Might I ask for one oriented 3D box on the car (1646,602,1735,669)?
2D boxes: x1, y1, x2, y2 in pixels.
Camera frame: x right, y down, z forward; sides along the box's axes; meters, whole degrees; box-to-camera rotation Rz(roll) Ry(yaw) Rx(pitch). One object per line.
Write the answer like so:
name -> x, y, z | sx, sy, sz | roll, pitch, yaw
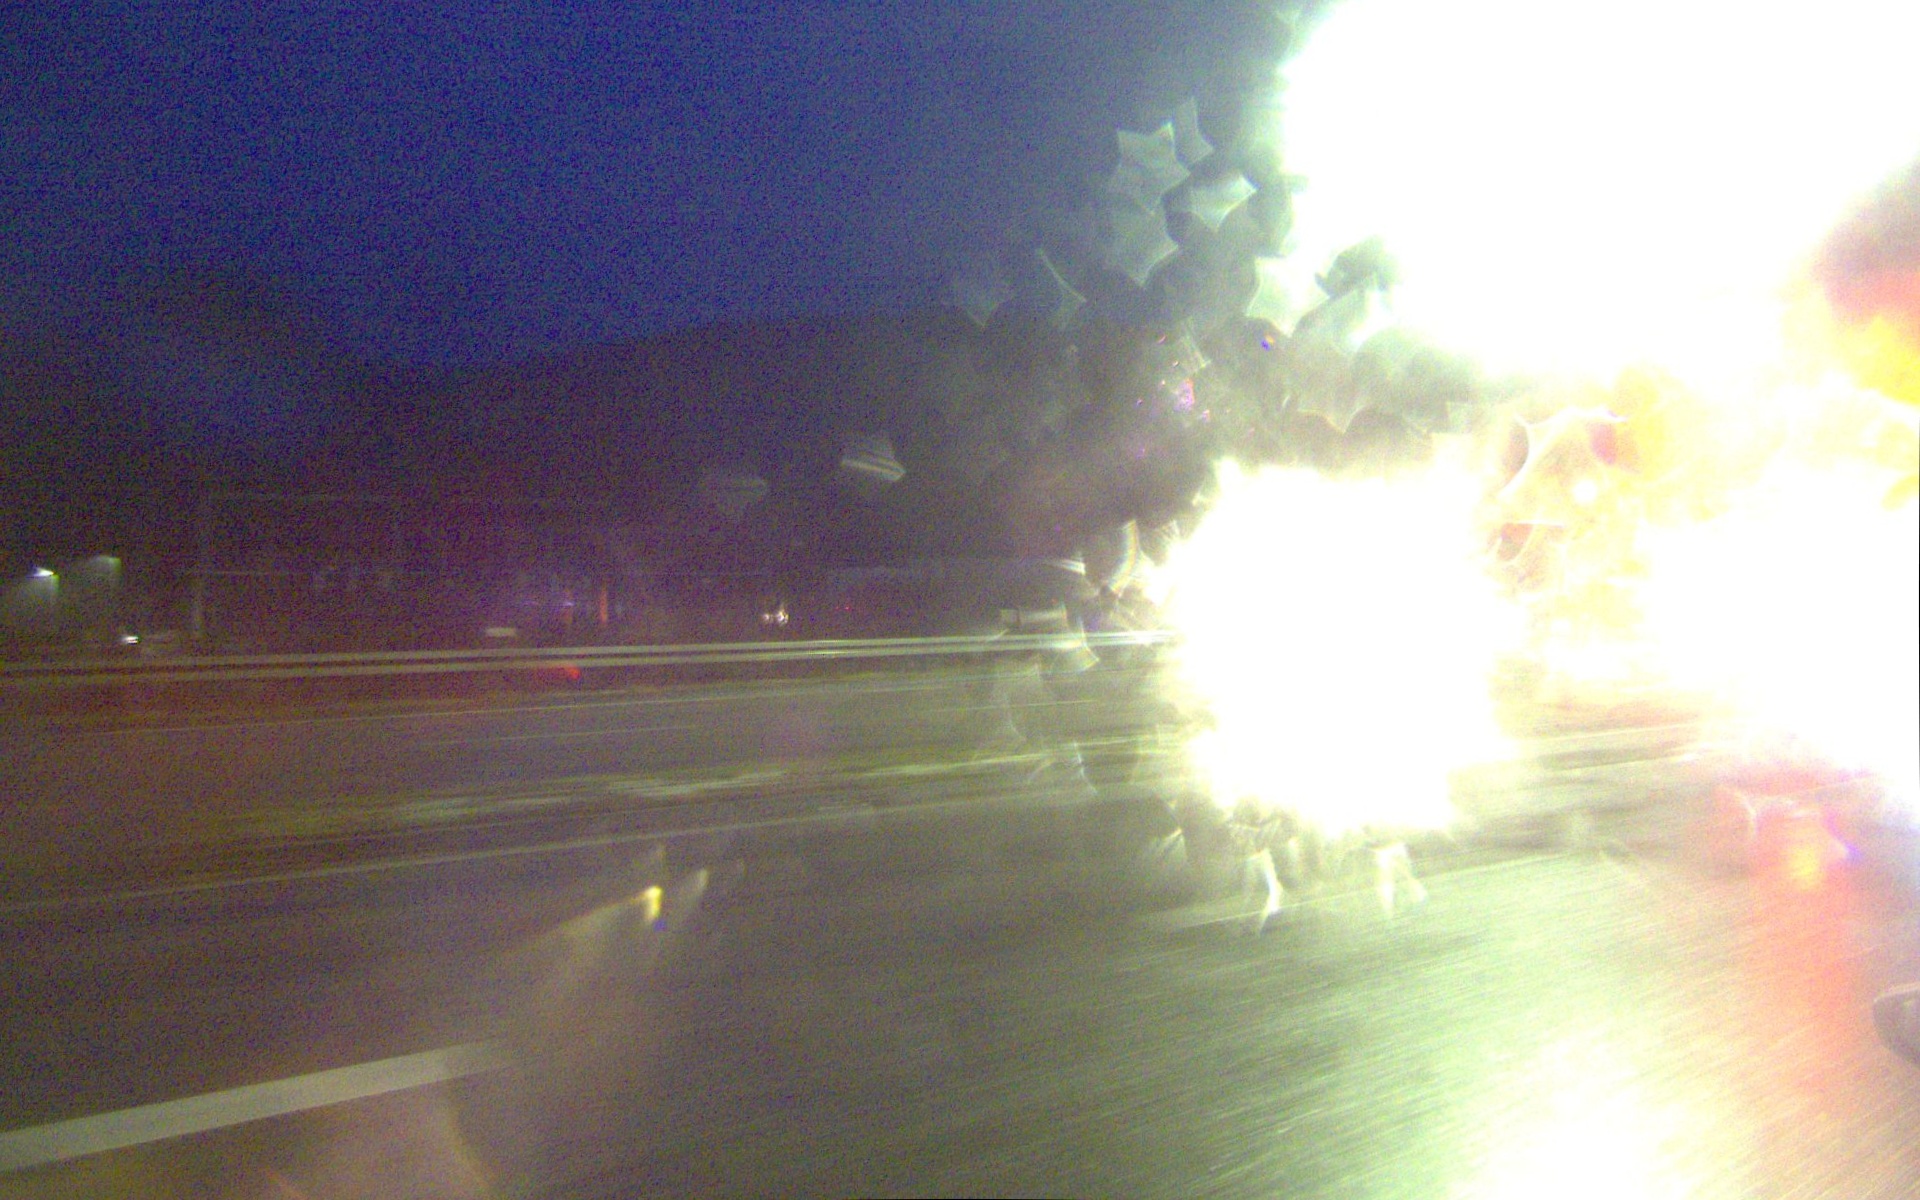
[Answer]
car -> 23.745, 1.130, 32.593 | 1.971, 2.040, 3.979 | 0, -1, 41
